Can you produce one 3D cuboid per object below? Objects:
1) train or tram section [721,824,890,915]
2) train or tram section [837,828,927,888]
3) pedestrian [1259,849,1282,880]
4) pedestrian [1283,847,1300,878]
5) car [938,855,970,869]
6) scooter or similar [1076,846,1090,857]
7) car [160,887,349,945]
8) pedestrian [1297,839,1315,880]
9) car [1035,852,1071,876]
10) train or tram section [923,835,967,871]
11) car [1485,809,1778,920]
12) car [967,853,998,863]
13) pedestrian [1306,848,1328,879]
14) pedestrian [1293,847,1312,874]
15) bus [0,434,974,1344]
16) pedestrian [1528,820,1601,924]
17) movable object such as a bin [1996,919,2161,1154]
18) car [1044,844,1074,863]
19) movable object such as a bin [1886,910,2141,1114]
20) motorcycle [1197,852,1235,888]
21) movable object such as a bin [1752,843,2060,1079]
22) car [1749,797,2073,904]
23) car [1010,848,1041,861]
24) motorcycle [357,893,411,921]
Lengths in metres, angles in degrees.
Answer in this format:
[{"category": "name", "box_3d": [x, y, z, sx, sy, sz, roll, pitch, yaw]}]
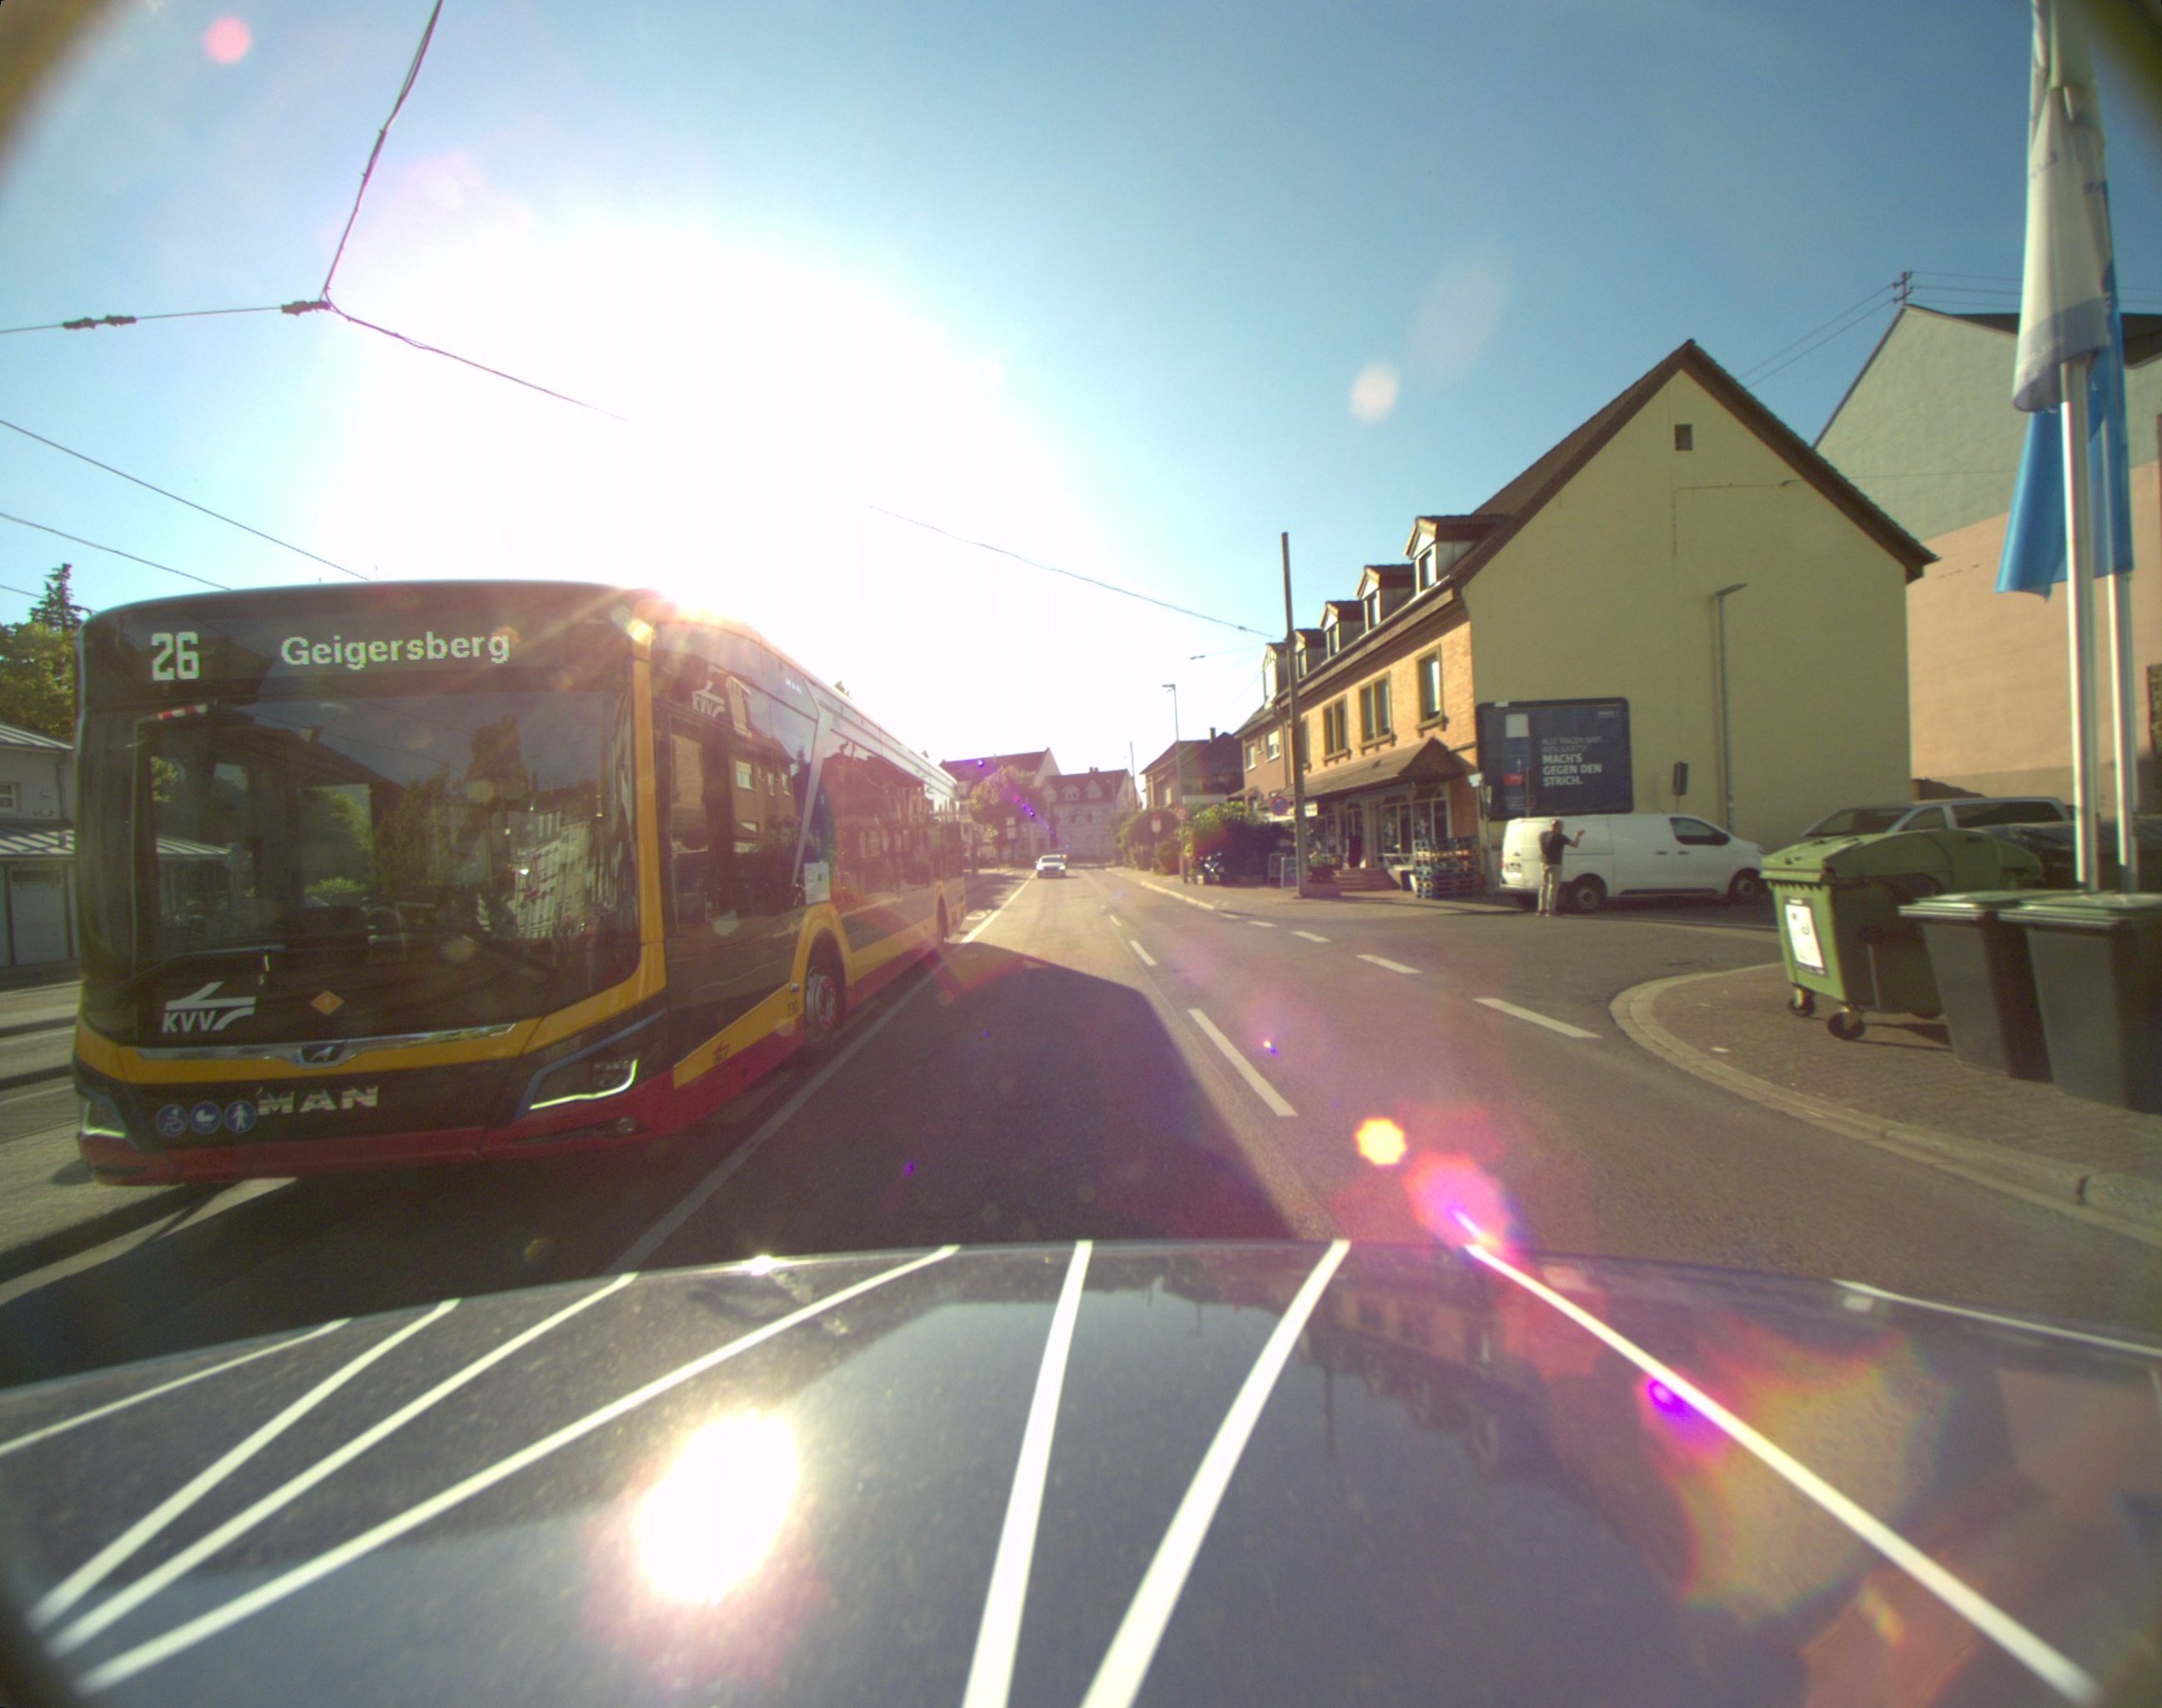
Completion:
[{"category": "train or tram section", "box_3d": [-12.964, 0.429, 38.193, 2.965, 3.514, 15.962, -2, 1, -2]}, {"category": "train or tram section", "box_3d": [-13.388, 0.093, 52.638, 2.965, 3.514, 13.458, -2, 1, -2]}, {"category": "pedestrian", "box_3d": [7.701, 0.426, 30.884, 0.746, 1.236, 0.667, -3, 1, 1]}, {"category": "pedestrian", "box_3d": [8.628, 0.332, 31.108, 0.524, 1.251, 0.465, -3, 1, 0]}, {"category": "car", "box_3d": [-19.311, 1.194, 115.925, 4.264, 1.945, 2.002, -2, 1, 17]}, {"category": "scooter or similar", "box_3d": [0.262, -0.370, 109.577, 1.883, 1.358, 0.625, -3, 1, 21]}, {"category": "car", "box_3d": [-28.875, 2.145, 26.649, 4.449, 1.759, 2.000, -2, 1, 2]}, {"category": "pedestrian", "box_3d": [8.730, 0.218, 29.442, 0.465, 1.552, 0.502, -2, 2, -6]}, {"category": "car", "box_3d": [-1.820, 0.650, 50.677, 1.998, 1.454, 4.449, -3, 0, 2]}, {"category": "train or tram section", "box_3d": [-14.526, -0.118, 82.178, 2.966, 3.402, 13.458, -2, 0, -4]}, {"category": "car", "box_3d": [11.162, 0.192, 15.626, 4.628, 1.922, 1.999, -3, 1, -4]}, {"category": "car", "box_3d": [-14.773, 0.597, 113.688, 4.116, 1.339, 1.938, -3, 1, 25]}, {"category": "pedestrian", "box_3d": [8.730, 0.343, 28.171, 0.564, 1.103, 0.632, -3, 1, -1]}, {"category": "pedestrian", "box_3d": [8.716, 0.240, 29.912, 0.525, 1.041, 0.383, -3, 1, -18]}, {"category": "bus", "box_3d": [-3.400, 0.129, 8.931, 2.695, 3.396, 12.016, -3, 0, -1]}, {"category": "pedestrian", "box_3d": [9.068, 0.332, 14.280, 0.794, 1.857, 0.820, -3, 1, 1]}, {"category": "movable object such as a bin", "box_3d": [5.372, 0.888, 3.858, 0.641, 1.063, 0.581, -3, -2, 11]}, {"category": "car", "box_3d": [-2.515, -0.041, 83.993, 1.873, 1.922, 4.785, -5, 0, -19]}, {"category": "movable object such as a bin", "box_3d": [5.443, 0.903, 4.483, 0.661, 1.056, 0.585, -5, -1, 11]}, {"category": "motorcycle", "box_3d": [5.248, 0.602, 29.623, 0.841, 1.275, 2.231, -4, 1, -4]}, {"category": "movable object such as a bin", "box_3d": [5.889, 0.715, 5.583, 1.056, 1.473, 1.315, -4, -3, 27]}, {"category": "car", "box_3d": [17.288, -0.092, 15.974, 4.974, 1.884, 1.999, -3, 1, -6]}, {"category": "car", "box_3d": [-8.130, 0.075, 111.248, 4.196, 1.454, 1.610, -4, 0, 30]}, {"category": "motorcycle", "box_3d": [-32.374, 2.447, 35.287, 1.827, 1.155, 0.558, -3, 1, -4]}]
